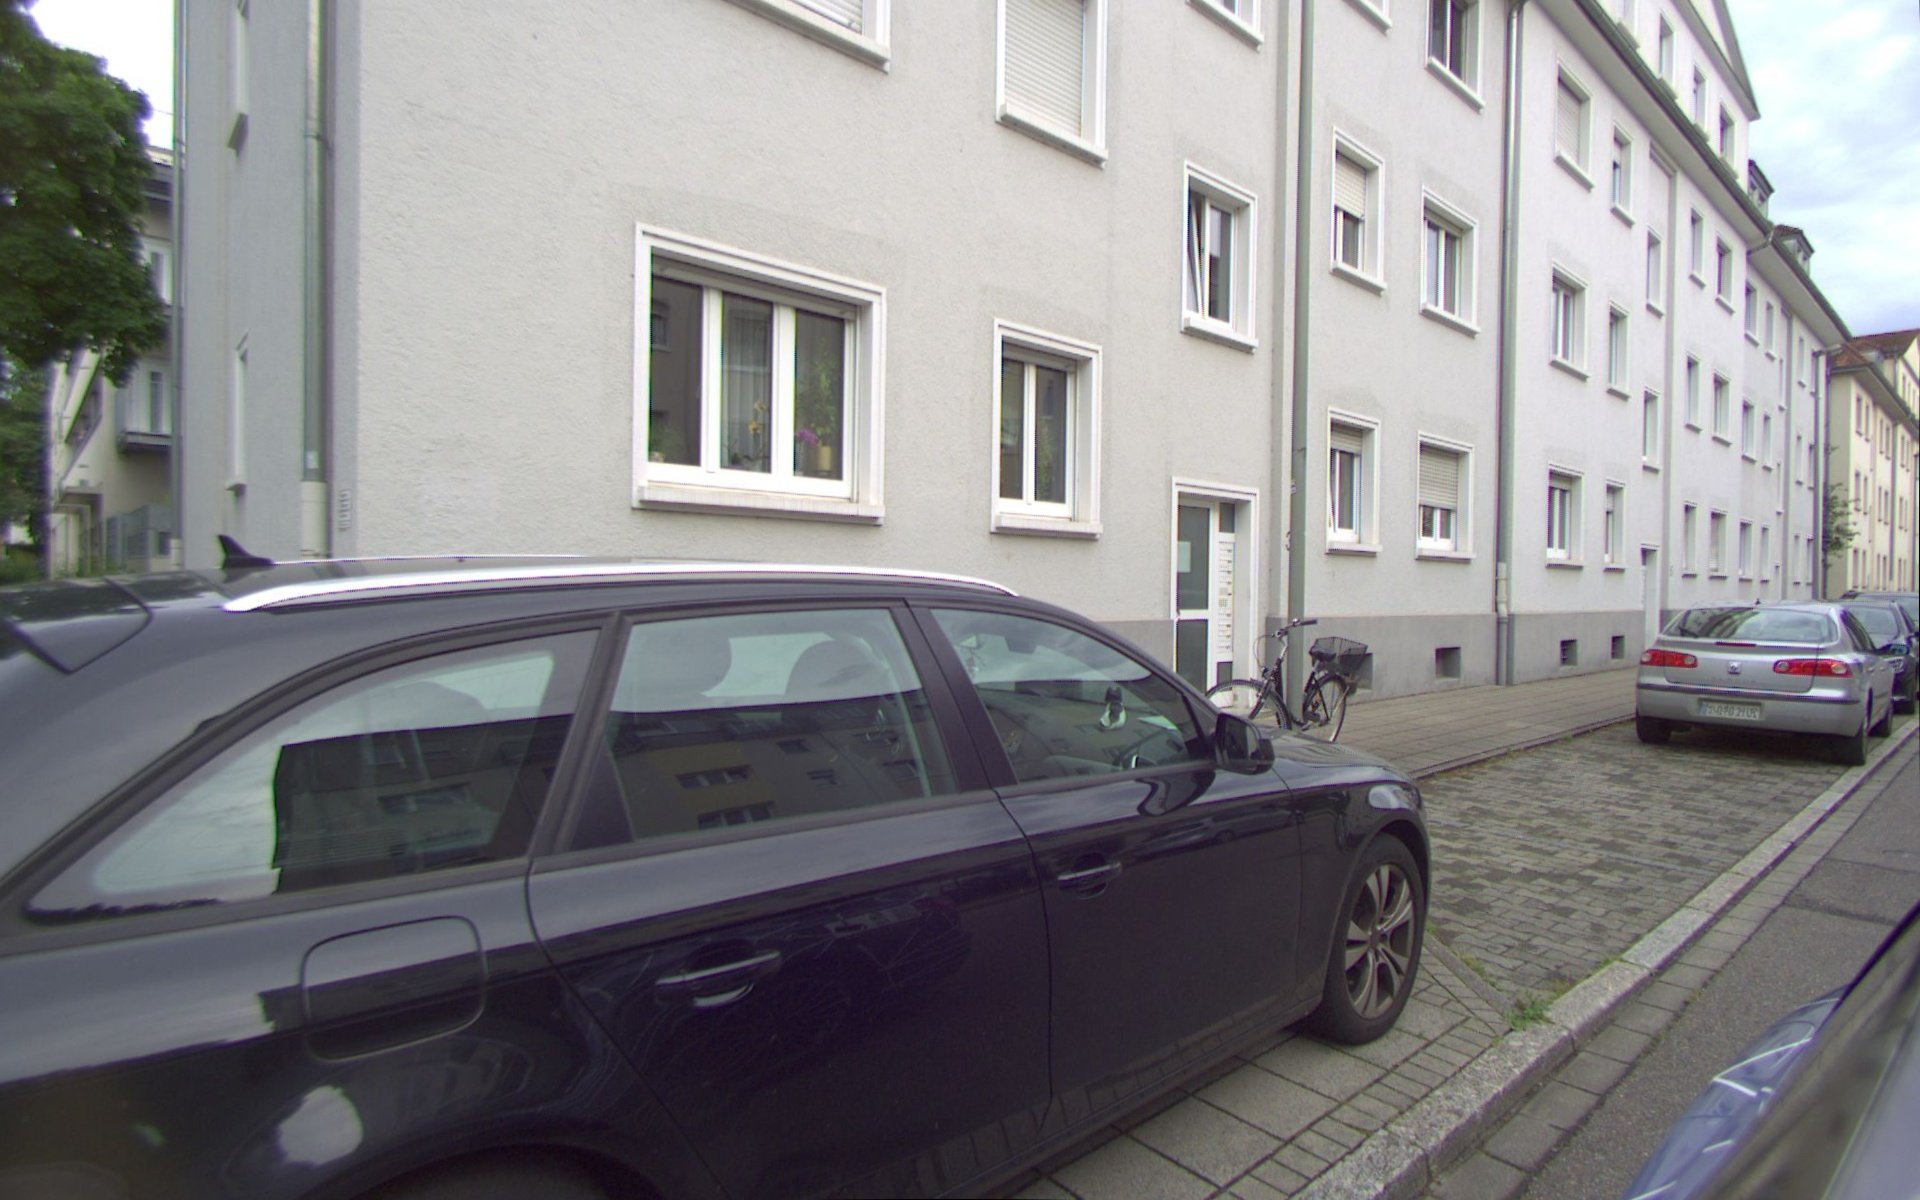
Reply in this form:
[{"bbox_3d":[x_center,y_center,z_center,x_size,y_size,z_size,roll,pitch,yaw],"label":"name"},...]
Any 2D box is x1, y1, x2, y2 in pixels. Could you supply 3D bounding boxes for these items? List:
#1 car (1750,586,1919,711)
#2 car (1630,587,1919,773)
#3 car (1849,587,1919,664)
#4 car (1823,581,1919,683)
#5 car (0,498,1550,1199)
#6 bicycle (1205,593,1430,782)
[{"bbox_3d":[12.650,0.580,14.258,4.250,1.481,1.783,0,1,-44],"label":"car"},{"bbox_3d":[8.456,0.645,10.351,4.356,1.481,1.734,0,1,-44],"label":"car"},{"bbox_3d":[20.195,0.512,21.352,3.692,1.505,1.735,0,1,-42],"label":"car"},{"bbox_3d":[16.684,0.514,17.814,4.090,1.619,1.850,0,1,-44],"label":"car"},{"bbox_3d":[-0.149,0.618,2.820,4.647,1.481,1.862,0,2,-44],"label":"car"},{"bbox_3d":[2.717,0.582,7.584,1.862,1.215,0.750,0,2,-42],"label":"bicycle"}]
